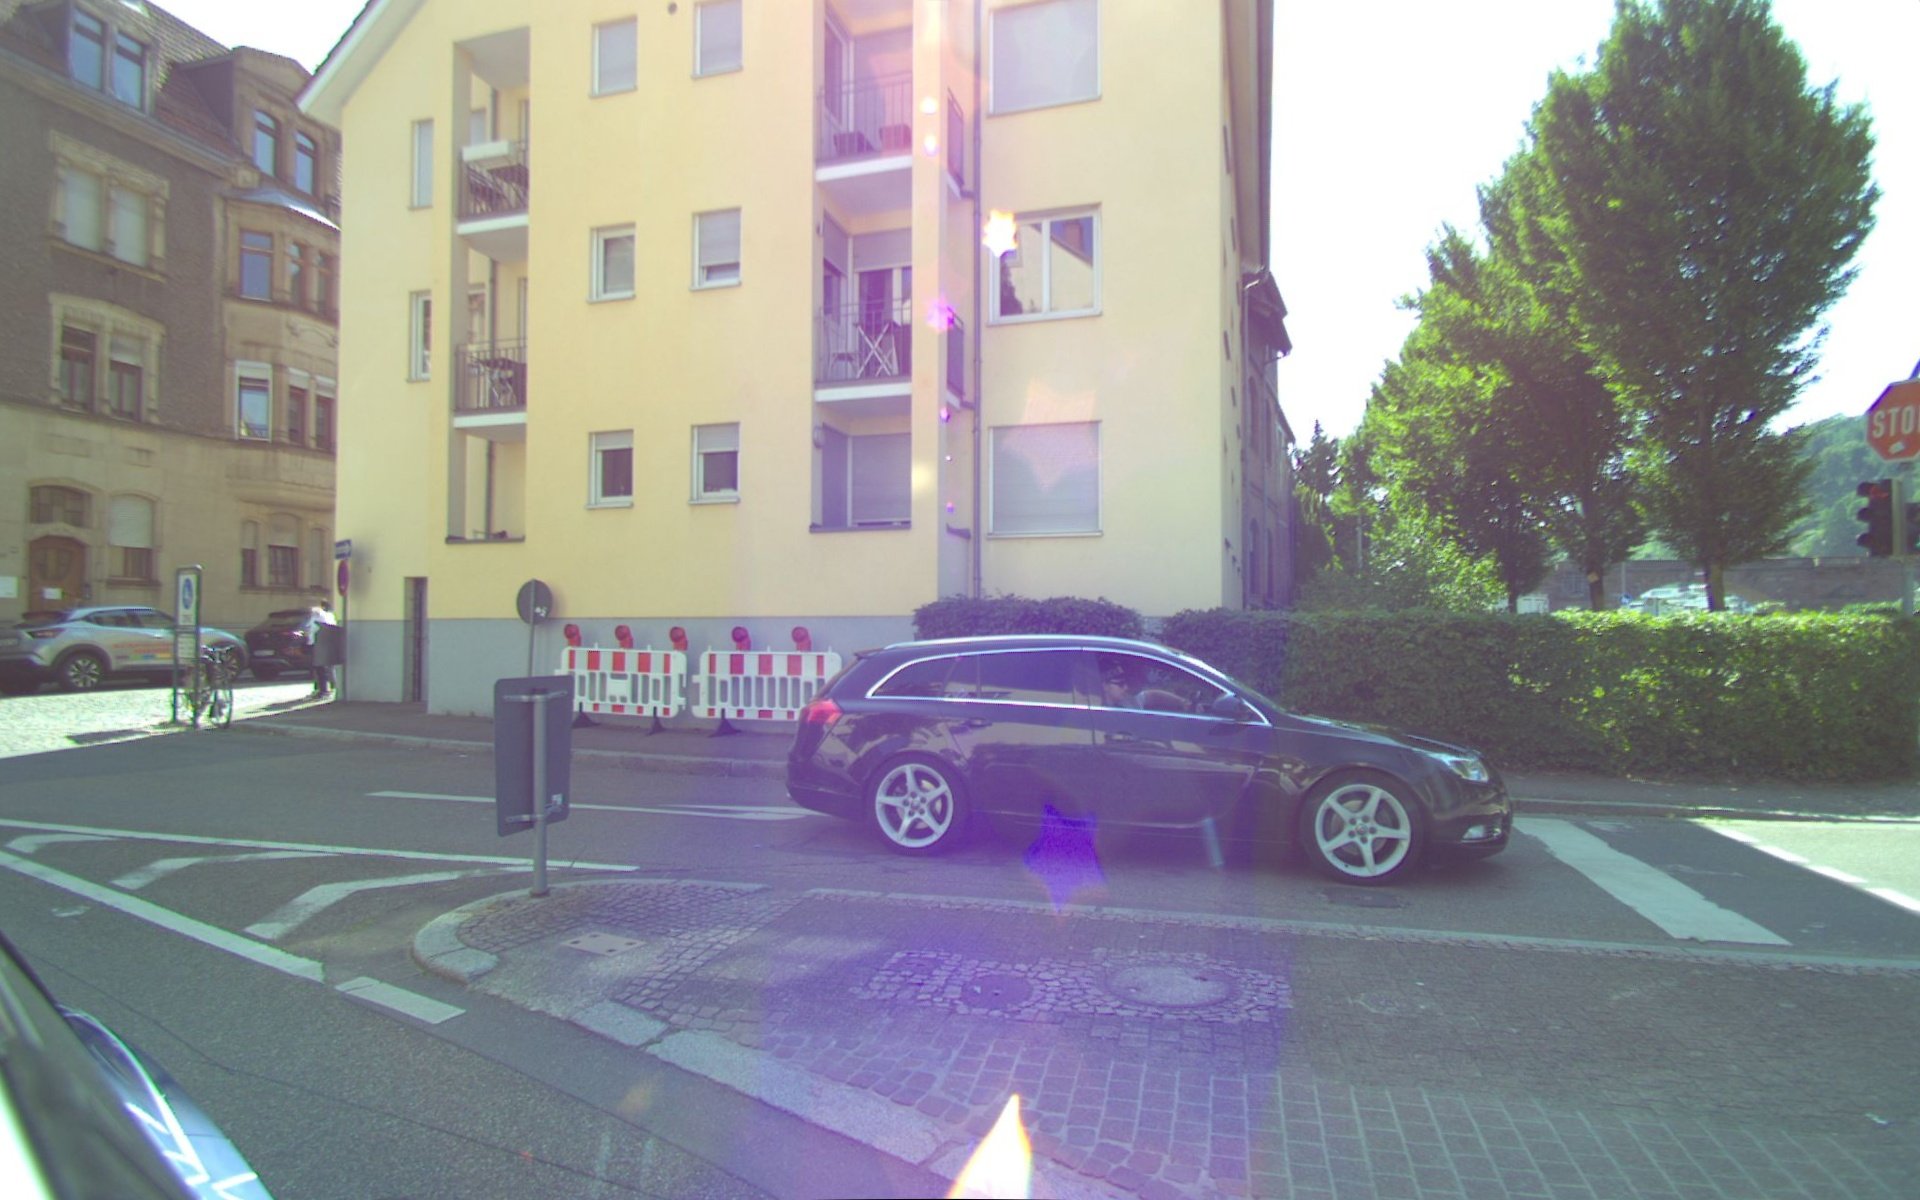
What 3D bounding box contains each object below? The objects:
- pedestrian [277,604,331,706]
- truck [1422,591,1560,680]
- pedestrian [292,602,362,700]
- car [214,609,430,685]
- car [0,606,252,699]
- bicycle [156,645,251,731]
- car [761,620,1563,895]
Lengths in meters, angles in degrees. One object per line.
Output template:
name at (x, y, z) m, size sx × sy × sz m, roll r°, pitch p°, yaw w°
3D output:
pedestrian at (-10.700, 0.893, 16.523) m, size 0.485 × 1.630 × 0.658 m, roll 1°, pitch -1°, yaw -9°
truck at (28.503, 1.913, 55.222) m, size 3.181 × 4.246 × 12.717 m, roll 0°, pitch -2°, yaw 12°
pedestrian at (-10.838, 0.863, 17.353) m, size 0.685 × 1.630 × 0.752 m, roll -1°, pitch -1°, yaw 18°
car at (-14.360, 1.003, 23.054) m, size 1.836 × 1.556 × 3.979 m, roll -1°, pitch -1°, yaw 16°
car at (-15.901, 0.934, 19.088) m, size 1.835 × 1.556 × 3.909 m, roll 0°, pitch -2°, yaw 15°
bicycle at (-10.409, 1.181, 13.903) m, size 1.904 × 1.087 × 0.387 m, roll -1°, pitch -2°, yaw 33°
car at (1.172, 0.914, 6.892) m, size 4.678 × 1.473 × 1.712 m, roll 0°, pitch -4°, yaw 14°
